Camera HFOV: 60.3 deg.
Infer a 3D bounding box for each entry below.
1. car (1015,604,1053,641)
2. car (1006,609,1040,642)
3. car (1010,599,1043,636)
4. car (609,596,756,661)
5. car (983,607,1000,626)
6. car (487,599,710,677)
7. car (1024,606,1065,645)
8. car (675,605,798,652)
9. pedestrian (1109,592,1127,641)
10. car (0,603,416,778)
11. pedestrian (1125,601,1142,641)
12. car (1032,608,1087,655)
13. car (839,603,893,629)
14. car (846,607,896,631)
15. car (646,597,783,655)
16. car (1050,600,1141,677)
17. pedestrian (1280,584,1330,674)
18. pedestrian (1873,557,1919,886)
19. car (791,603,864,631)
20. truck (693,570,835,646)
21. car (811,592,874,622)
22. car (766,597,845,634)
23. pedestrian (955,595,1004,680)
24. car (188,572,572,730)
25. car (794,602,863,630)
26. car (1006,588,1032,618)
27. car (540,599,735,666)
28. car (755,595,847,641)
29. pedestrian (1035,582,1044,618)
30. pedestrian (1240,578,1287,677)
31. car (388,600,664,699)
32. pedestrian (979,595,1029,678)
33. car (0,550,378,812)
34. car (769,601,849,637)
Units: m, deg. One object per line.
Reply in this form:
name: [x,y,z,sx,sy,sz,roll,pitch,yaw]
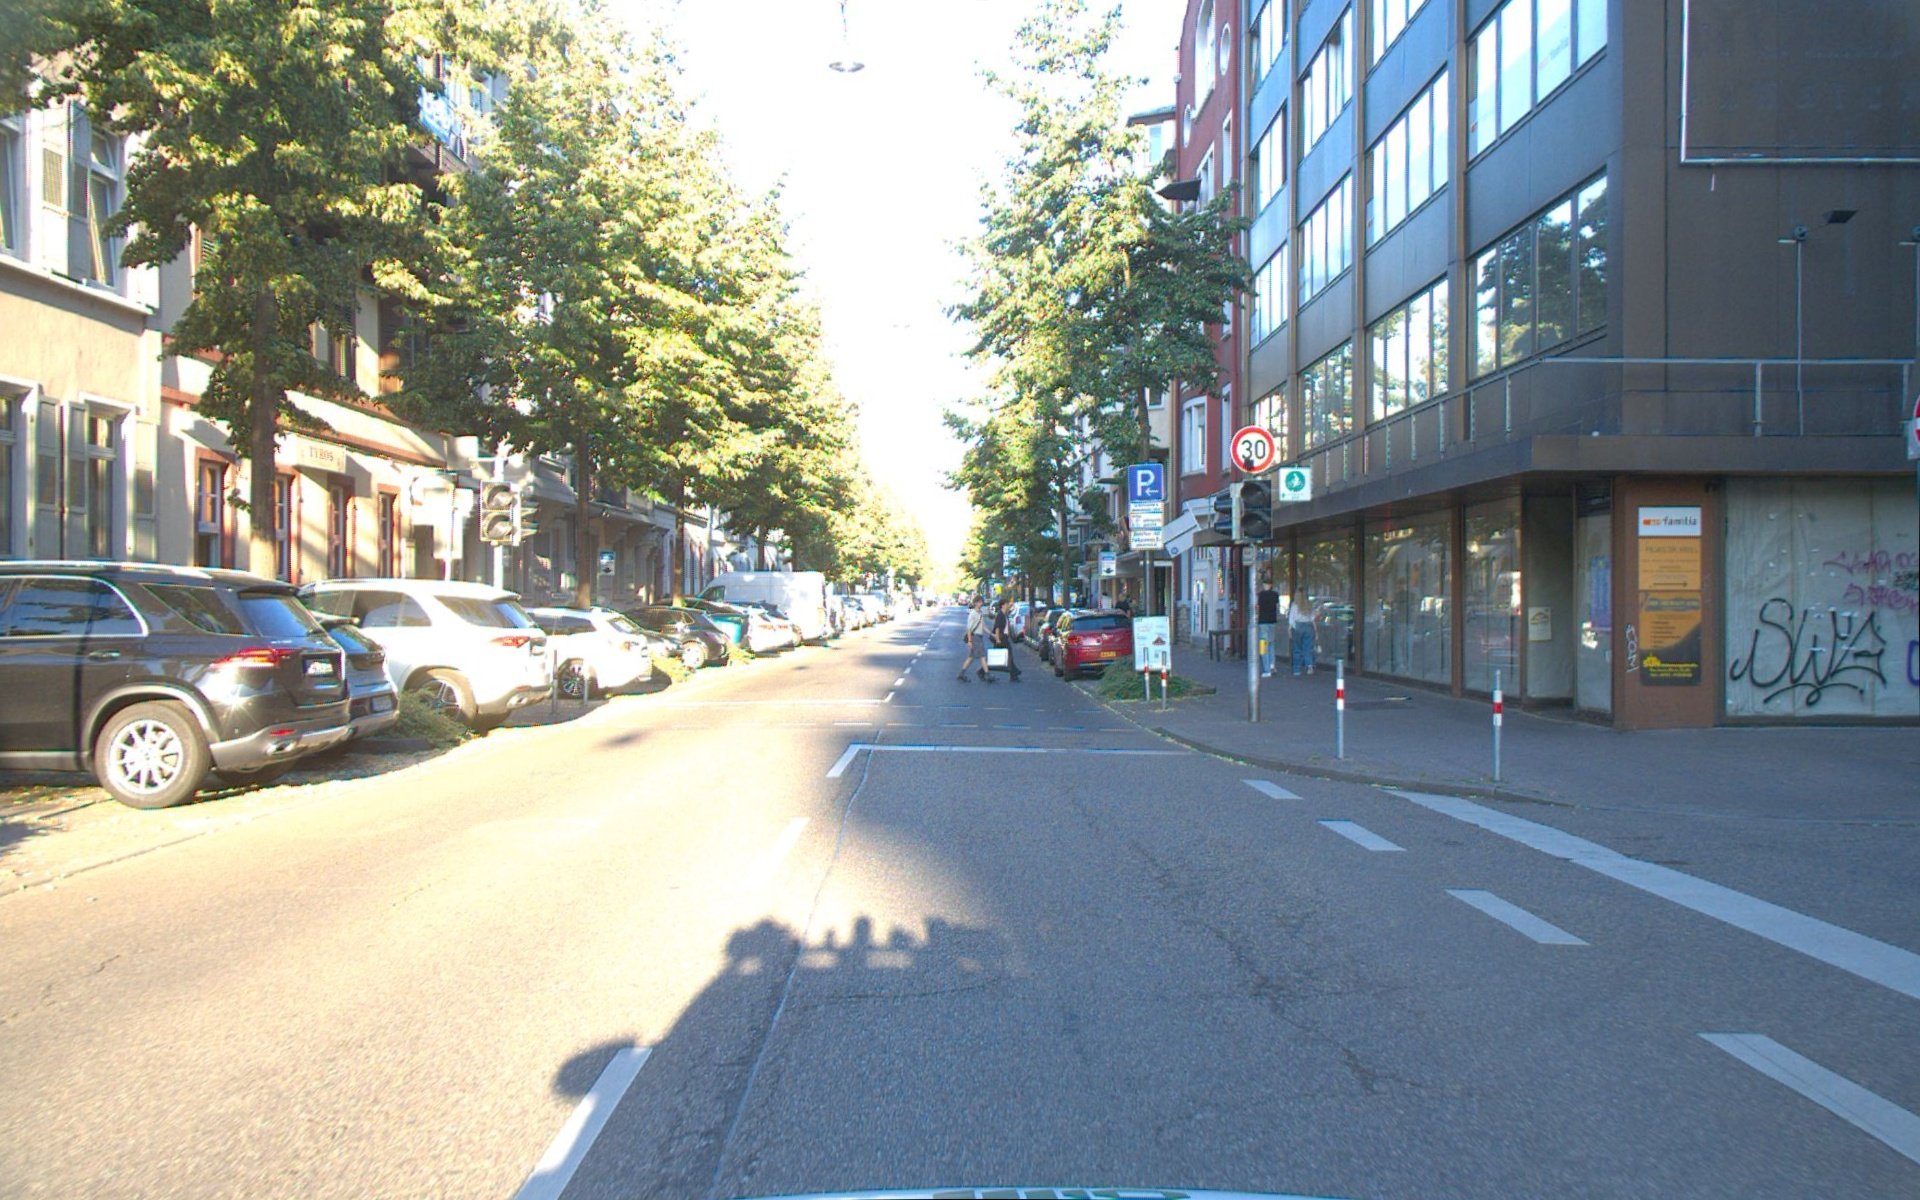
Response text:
car: [2.746,0.843,61.672,1.182,1.323,2.659,1,-1,-3]
car: [2.611,1.053,68.624,1.182,1.323,2.659,1,-1,-3]
car: [3.021,0.807,75.870,1.282,1.628,2.659,1,-1,-3]
car: [-7.525,0.761,45.153,3.663,1.671,2.000,1,0,-1]
car: [2.702,1.416,141.206,1.282,1.628,2.659,1,-1,-3]
car: [-7.646,0.790,35.317,4.336,1.627,2.000,0,0,-1]
car: [2.979,0.893,58.386,1.182,1.323,2.659,1,-1,-3]
car: [-7.111,0.901,52.882,3.663,1.475,2.000,0,0,-1]
pedestrian: [5.413,0.571,56.698,0.523,1.650,0.534,1,0,0]
car: [-7.357,0.796,15.404,3.950,1.469,1.831,1,0,-1]
pedestrian: [6.009,0.727,57.227,0.523,1.384,0.534,1,0,0]
car: [2.894,0.931,48.533,1.278,1.315,3.012,-1,-1,-3]
car: [-6.570,1.113,116.387,3.663,1.738,2.000,1,0,-1]
car: [-6.782,1.445,125.858,3.663,1.738,2.000,1,0,-1]
car: [-7.039,0.772,47.743,3.663,1.624,1.999,0,-2,-1]
car: [2.944,0.833,36.523,1.545,1.570,3.394,-2,-1,-3]
pedestrian: [6.749,0.556,32.373,0.750,1.718,0.786,-1,0,-3]
pedestrian: [5.255,0.623,8.200,0.739,1.669,1.259,1,0,-1]
car: [-6.975,0.888,87.369,3.663,1.475,2.000,0,0,-1]
truck: [-6.983,0.278,59.266,4.840,2.661,2.000,0,-1,-1]
car: [-7.086,0.408,99.920,3.663,1.738,2.000,1,0,-1]
car: [-7.495,0.737,80.292,3.663,1.738,2.000,0,0,-1]
pedestrian: [0.403,0.764,34.081,0.710,1.702,0.700,1,0,-40]
car: [-6.826,0.582,19.772,3.908,1.738,1.833,1,0,-1]
car: [-7.305,0.881,92.212,3.663,1.519,2.000,0,0,-1]
car: [3.391,0.191,94.924,1.282,1.628,2.659,1,-1,-3]
car: [-7.760,0.772,40.115,4.336,1.529,2.000,1,-1,-1]
car: [-6.649,0.754,69.558,3.663,1.891,2.000,0,0,-1]
pedestrian: [4.488,0.000,93.671,0.440,2.049,0.424,1,0,-2]
pedestrian: [5.920,0.529,32.290,0.700,1.898,0.679,-2,0,-3]
car: [-7.213,0.812,27.815,4.090,1.533,2.000,1,-1,-1]
pedestrian: [0.922,0.769,34.981,0.716,1.712,0.746,2,-1,-40]
car: [-7.118,0.581,12.944,4.358,1.867,2.033,1,-1,-1]
car: [-6.872,0.868,75.571,3.513,1.623,1.700,0,-1,-1]
